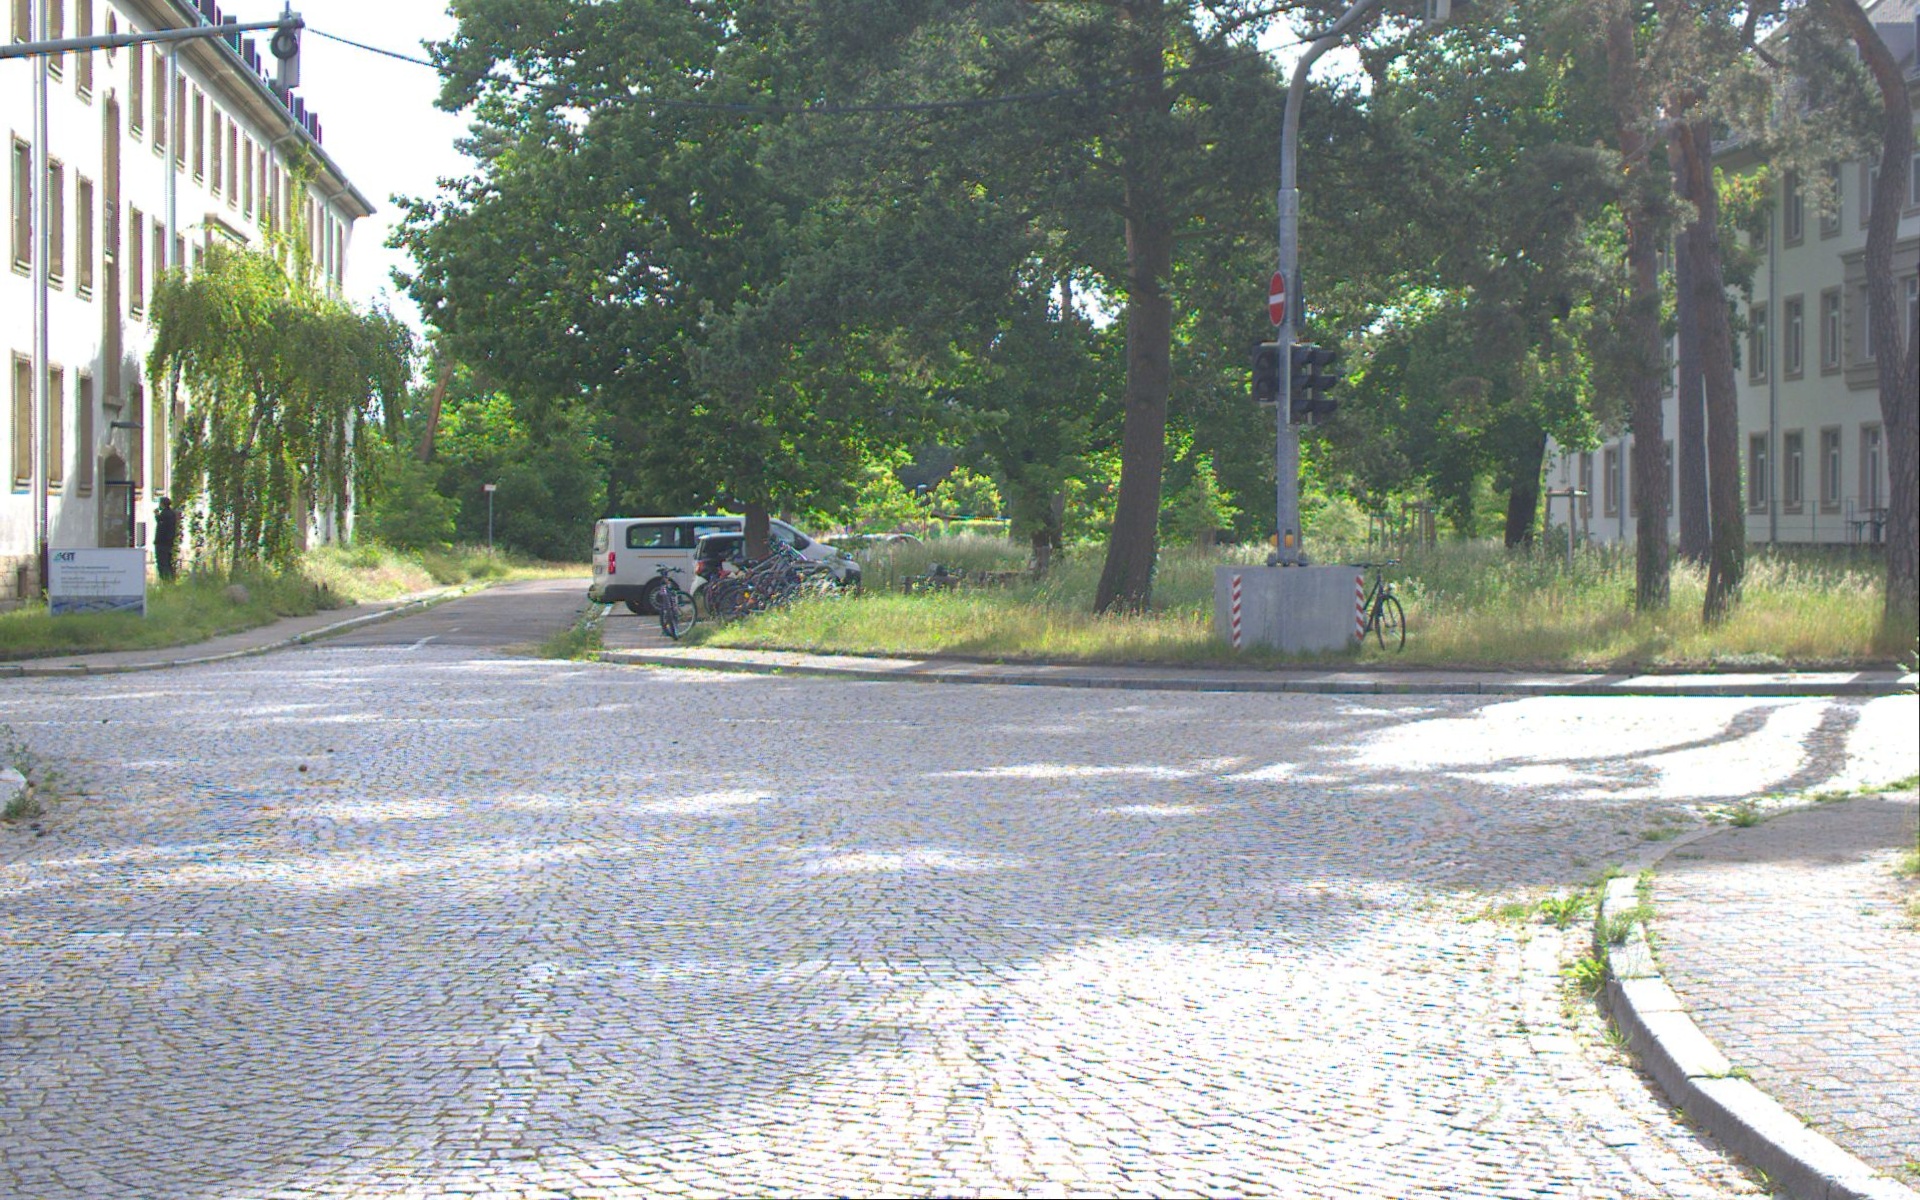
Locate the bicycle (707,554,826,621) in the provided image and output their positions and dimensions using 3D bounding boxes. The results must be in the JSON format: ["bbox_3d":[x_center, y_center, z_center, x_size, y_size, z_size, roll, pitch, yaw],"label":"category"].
[{"bbox_3d":[-2.970,-0.201,52.647,1.792,0.995,0.644,0,2,-6],"label":"bicycle"}]

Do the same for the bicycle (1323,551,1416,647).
[{"bbox_3d":[4.516,-0.026,38.004,0.562,0.995,1.753,0,2,-9],"label":"bicycle"}]

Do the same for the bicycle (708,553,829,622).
[{"bbox_3d":[-2.878,-0.188,51.631,1.792,0.995,0.644,0,2,-6],"label":"bicycle"}]

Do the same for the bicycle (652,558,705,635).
[{"bbox_3d":[-3.930,-0.059,47.946,0.728,0.995,1.799,0,2,-5],"label":"bicycle"}]

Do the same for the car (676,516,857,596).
[{"bbox_3d":[-3.603,-0.809,63.977,3.031,1.460,1.720,0,0,-17],"label":"car"}]

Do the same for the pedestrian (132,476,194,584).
[{"bbox_3d":[-14.615,-1.277,63.064,0.985,1.956,0.933,0,1,-5],"label":"pedestrian"}]

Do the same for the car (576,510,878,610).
[{"bbox_3d":[-4.584,-0.777,67.475,5.499,1.909,2.255,0,1,-18],"label":"car"}]
